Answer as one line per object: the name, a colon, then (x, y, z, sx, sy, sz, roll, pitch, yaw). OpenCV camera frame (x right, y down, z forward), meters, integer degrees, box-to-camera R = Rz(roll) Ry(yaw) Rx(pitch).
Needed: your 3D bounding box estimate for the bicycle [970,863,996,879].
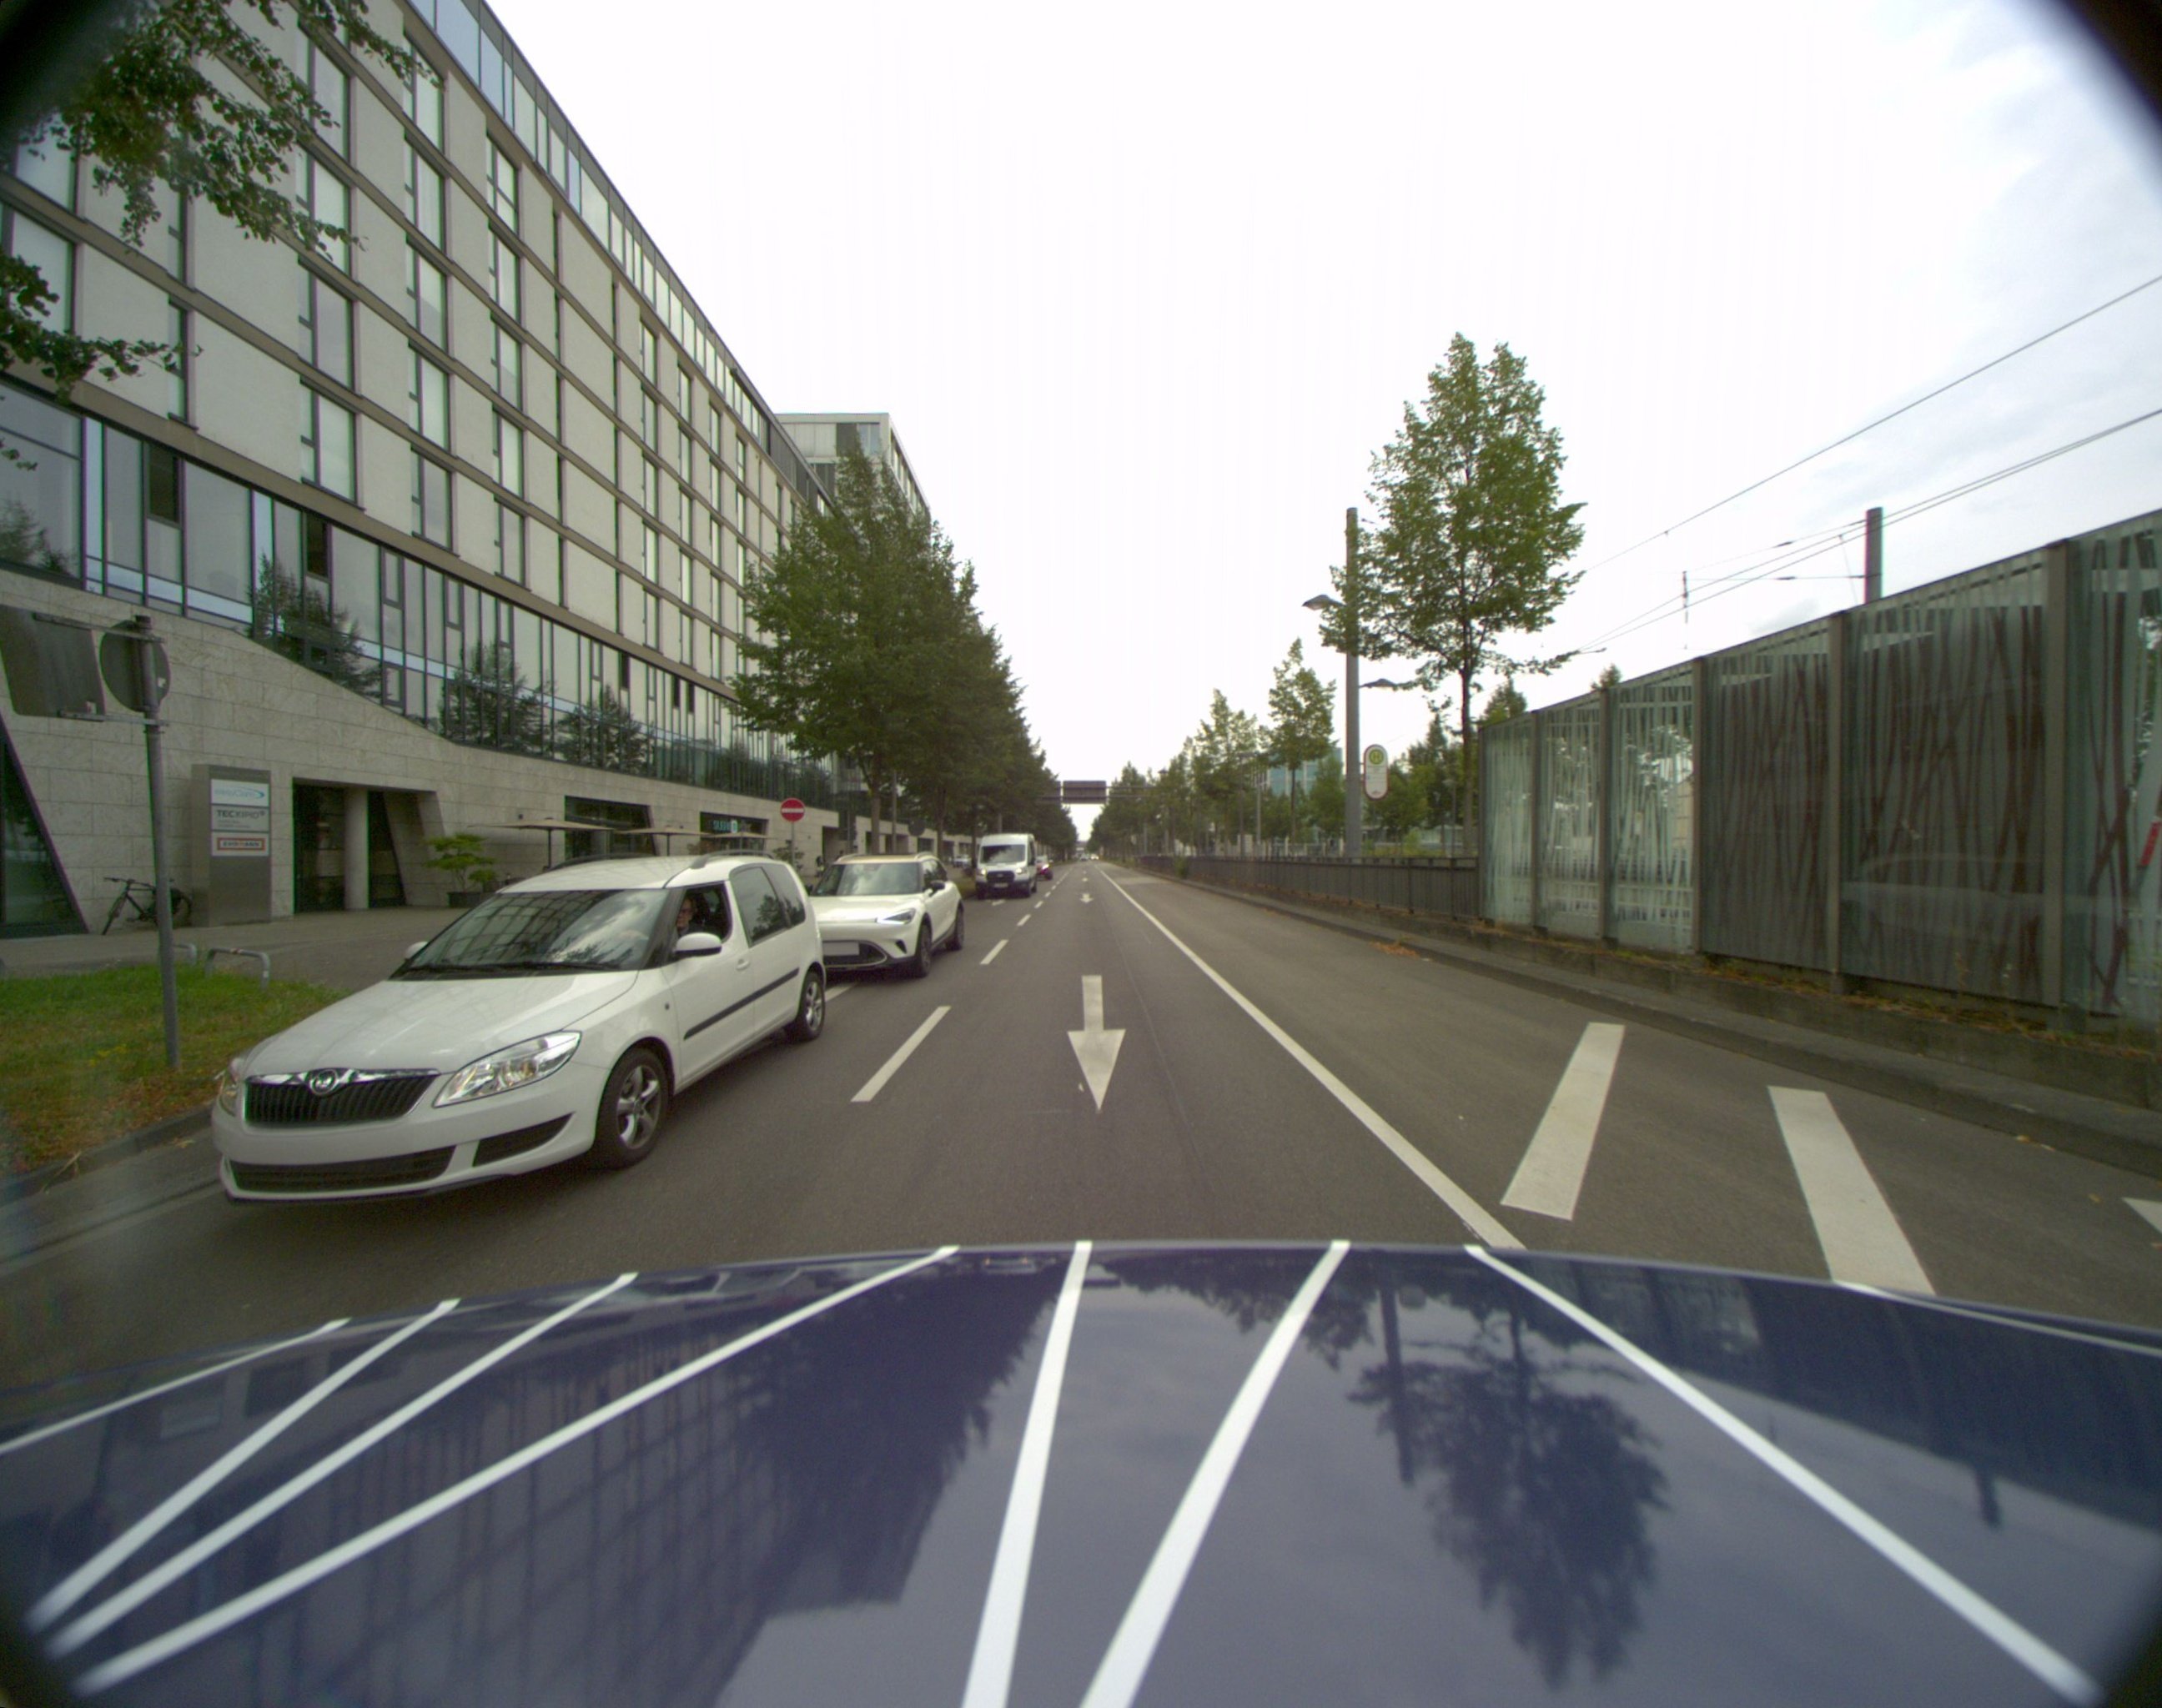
bicycle: (-7.692, 1.343, 59.804, 1.935, 1.059, 0.705, -4, 0, -3)

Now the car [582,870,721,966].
car: (-8.547, 1.095, 14.877, 1.951, 1.467, 4.858, -1, 0, -34)

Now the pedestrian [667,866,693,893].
pedestrian: (-18.134, 1.137, 34.371, 0.720, 1.185, 0.759, 0, 0, 2)

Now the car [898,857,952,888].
car: (-8.250, 0.953, 40.585, 1.943, 1.543, 4.593, -1, 0, 0)

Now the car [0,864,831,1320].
car: (-3.176, 0.918, 4.840, 1.783, 1.647, 4.023, 0, 0, 1)

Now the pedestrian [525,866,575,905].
pedestrian: (-17.129, 1.012, 24.538, 0.899, 1.221, 0.950, 0, 0, 5)

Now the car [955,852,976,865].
car: (-14.353, 0.543, 94.825, 1.862, 1.579, 4.240, 2, 0, 0)

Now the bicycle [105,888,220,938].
bicycle: (-18.794, 1.188, 15.592, 0.519, 0.905, 1.493, 0, 0, 1)

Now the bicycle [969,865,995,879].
bicycle: (-7.705, 1.399, 59.112, 1.865, 0.946, 0.612, -4, 0, -3)

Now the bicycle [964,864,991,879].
bicycle: (-7.737, 1.344, 56.955, 1.865, 0.989, 0.574, -4, 0, -3)

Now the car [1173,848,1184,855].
car: (25.131, -0.644, 196.159, 1.998, 1.933, 5.096, 0, 0, 0)

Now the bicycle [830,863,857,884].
bicycle: (-12.466, 1.015, 39.940, 0.675, 1.036, 2.008, 0, 0, 3)

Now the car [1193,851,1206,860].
car: (23.902, 0.344, 153.098, 1.832, 1.646, 4.691, -1, 0, -2)

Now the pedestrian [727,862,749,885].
pedestrian: (-18.011, 1.042, 39.858, 0.719, 1.185, 0.760, 0, 0, 22)

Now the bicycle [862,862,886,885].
bicycle: (-10.741, 1.015, 39.543, 0.675, 1.136, 2.007, 1, -1, 0)

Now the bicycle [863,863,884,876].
bicycle: (-17.263, 1.276, 63.297, 1.602, 1.020, 0.533, 0, 0, -3)

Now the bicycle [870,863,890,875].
bicycle: (-17.295, 1.282, 65.375, 1.602, 1.020, 0.533, 0, 0, -3)

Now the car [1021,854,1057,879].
car: (-2.637, 0.787, 48.602, 1.973, 1.528, 4.139, 0, 0, 1)

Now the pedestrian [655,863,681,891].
pedestrian: (-18.152, 0.995, 33.394, 0.720, 1.185, 0.759, 0, 0, 0)

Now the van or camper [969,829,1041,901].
van or camper: (-2.887, 0.396, 30.362, 2.184, 2.493, 6.339, -2, 0, 0)

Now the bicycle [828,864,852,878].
bicycle: (-17.720, 1.225, 55.971, 1.605, 1.020, 0.609, 0, 0, -27)

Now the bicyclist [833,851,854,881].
bicyclist: (-12.441, 0.627, 39.842, 0.726, 1.573, 0.990, 1, 1, 2)

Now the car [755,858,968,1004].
car: (-2.886, 0.914, 10.943, 1.783, 1.647, 4.023, -2, 0, 1)

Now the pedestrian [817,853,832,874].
pedestrian: (-17.547, 0.638, 51.978, 0.758, 1.398, 0.721, 0, 0, 8)

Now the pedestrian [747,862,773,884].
pedestrian: (-17.411, 1.025, 41.188, 0.773, 1.185, 1.107, 0, 0, 15)

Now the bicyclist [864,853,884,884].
bicyclist: (-10.737, 0.746, 39.484, 0.726, 1.573, 0.989, 1, 1, 0)
